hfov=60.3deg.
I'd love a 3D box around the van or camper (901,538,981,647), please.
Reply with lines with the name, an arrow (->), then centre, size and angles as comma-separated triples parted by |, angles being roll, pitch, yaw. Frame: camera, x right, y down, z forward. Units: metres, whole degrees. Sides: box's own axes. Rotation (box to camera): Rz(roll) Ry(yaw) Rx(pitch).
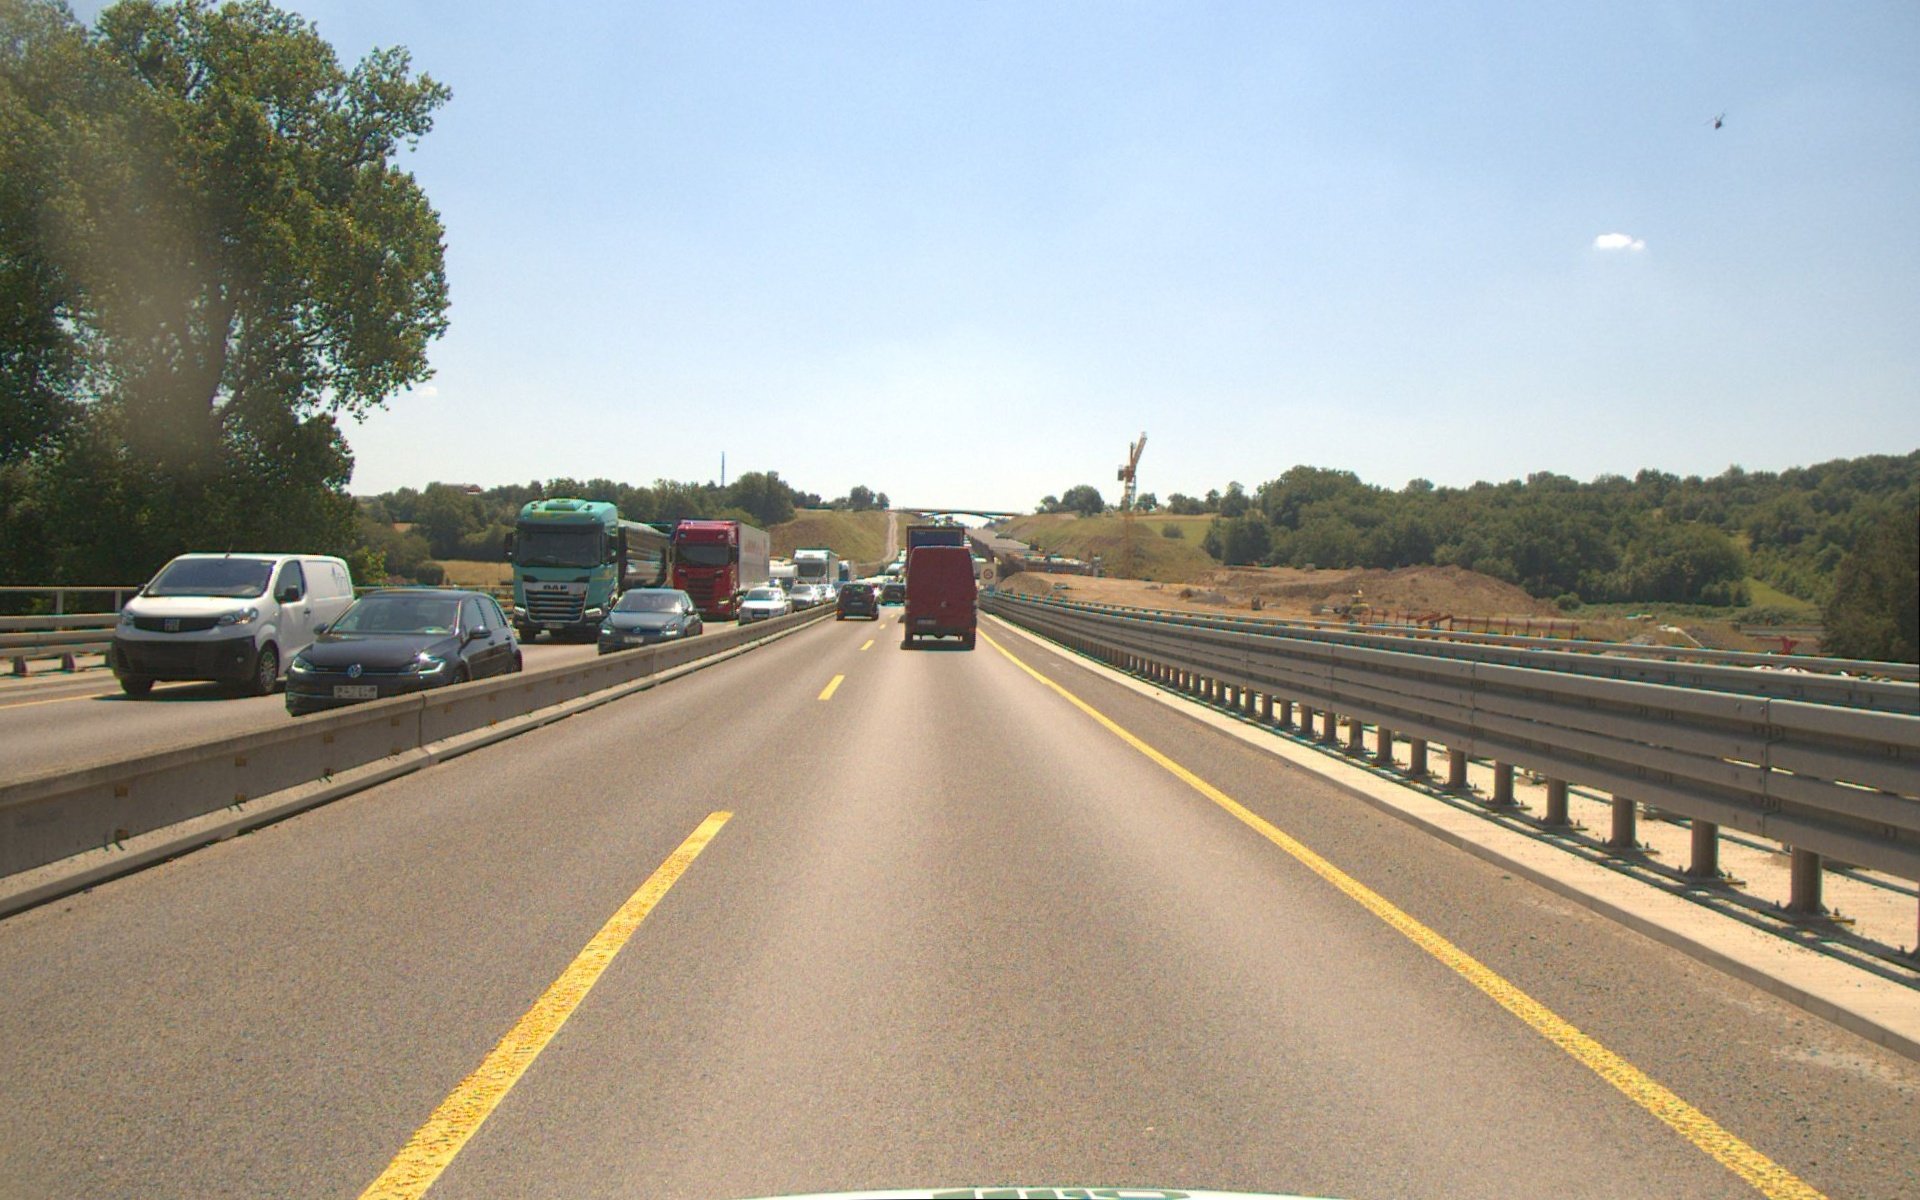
van or camper -> -0.572, -0.219, 45.462 | 1.988, 2.792, 4.513 | 1, 0, -3

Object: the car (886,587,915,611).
car -> -4.213, -0.066, 118.348 | 1.971, 1.572, 4.131 | 2, 1, -2

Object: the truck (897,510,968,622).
truck -> -1.309, -1.507, 74.676 | 2.960, 4.775, 6.929 | -1, 1, -3

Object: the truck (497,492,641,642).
truck -> -10.572, -0.855, 45.189 | 2.740, 3.787, 5.372 | -1, 0, -2

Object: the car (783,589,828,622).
car -> -7.705, 0.240, 82.777 | 1.852, 1.513, 4.918 | 3, 0, -2

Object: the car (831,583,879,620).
car -> -4.634, 0.057, 73.378 | 1.971, 1.572, 4.130 | 1, 0, -2

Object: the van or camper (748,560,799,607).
van or camper -> -11.290, -1.015, 100.431 | 2.452, 2.745, 5.243 | 1, 1, 0

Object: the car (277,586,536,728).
car -> -6.187, 0.566, 18.979 | 1.645, 1.416, 4.155 | -1, 1, -1

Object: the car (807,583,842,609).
car -> -8.101, -0.228, 99.075 | 1.863, 1.487, 4.192 | -1, 0, -2

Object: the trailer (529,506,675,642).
trailer -> -10.725, -0.745, 50.485 | 2.738, 3.736, 8.953 | -1, 0, -2

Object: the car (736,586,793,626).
car -> -7.205, 0.190, 61.371 | 1.745, 1.404, 4.709 | -1, 1, -3

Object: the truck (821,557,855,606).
truck -> -11.459, -1.768, 156.392 | 2.749, 4.469, 6.224 | 1, 1, 0

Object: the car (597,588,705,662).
car -> -6.457, 0.473, 34.941 | 1.598, 1.433, 4.102 | -1, 1, -2

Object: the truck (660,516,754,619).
truck -> -10.625, -1.374, 70.036 | 2.758, 4.107, 6.524 | 1, 1, 1

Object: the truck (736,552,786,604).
truck -> -15.422, -1.691, 128.780 | 2.845, 3.830, 8.366 | 2, 1, -1

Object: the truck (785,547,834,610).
truck -> -11.345, -1.595, 125.186 | 3.015, 4.616, 7.102 | 1, 0, 0

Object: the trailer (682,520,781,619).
trailer -> -10.518, -1.444, 77.482 | 2.748, 4.249, 11.800 | 1, 1, 1

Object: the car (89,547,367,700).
car -> -10.001, 0.273, 23.039 | 1.821, 1.900, 4.629 | 0, 0, 0
